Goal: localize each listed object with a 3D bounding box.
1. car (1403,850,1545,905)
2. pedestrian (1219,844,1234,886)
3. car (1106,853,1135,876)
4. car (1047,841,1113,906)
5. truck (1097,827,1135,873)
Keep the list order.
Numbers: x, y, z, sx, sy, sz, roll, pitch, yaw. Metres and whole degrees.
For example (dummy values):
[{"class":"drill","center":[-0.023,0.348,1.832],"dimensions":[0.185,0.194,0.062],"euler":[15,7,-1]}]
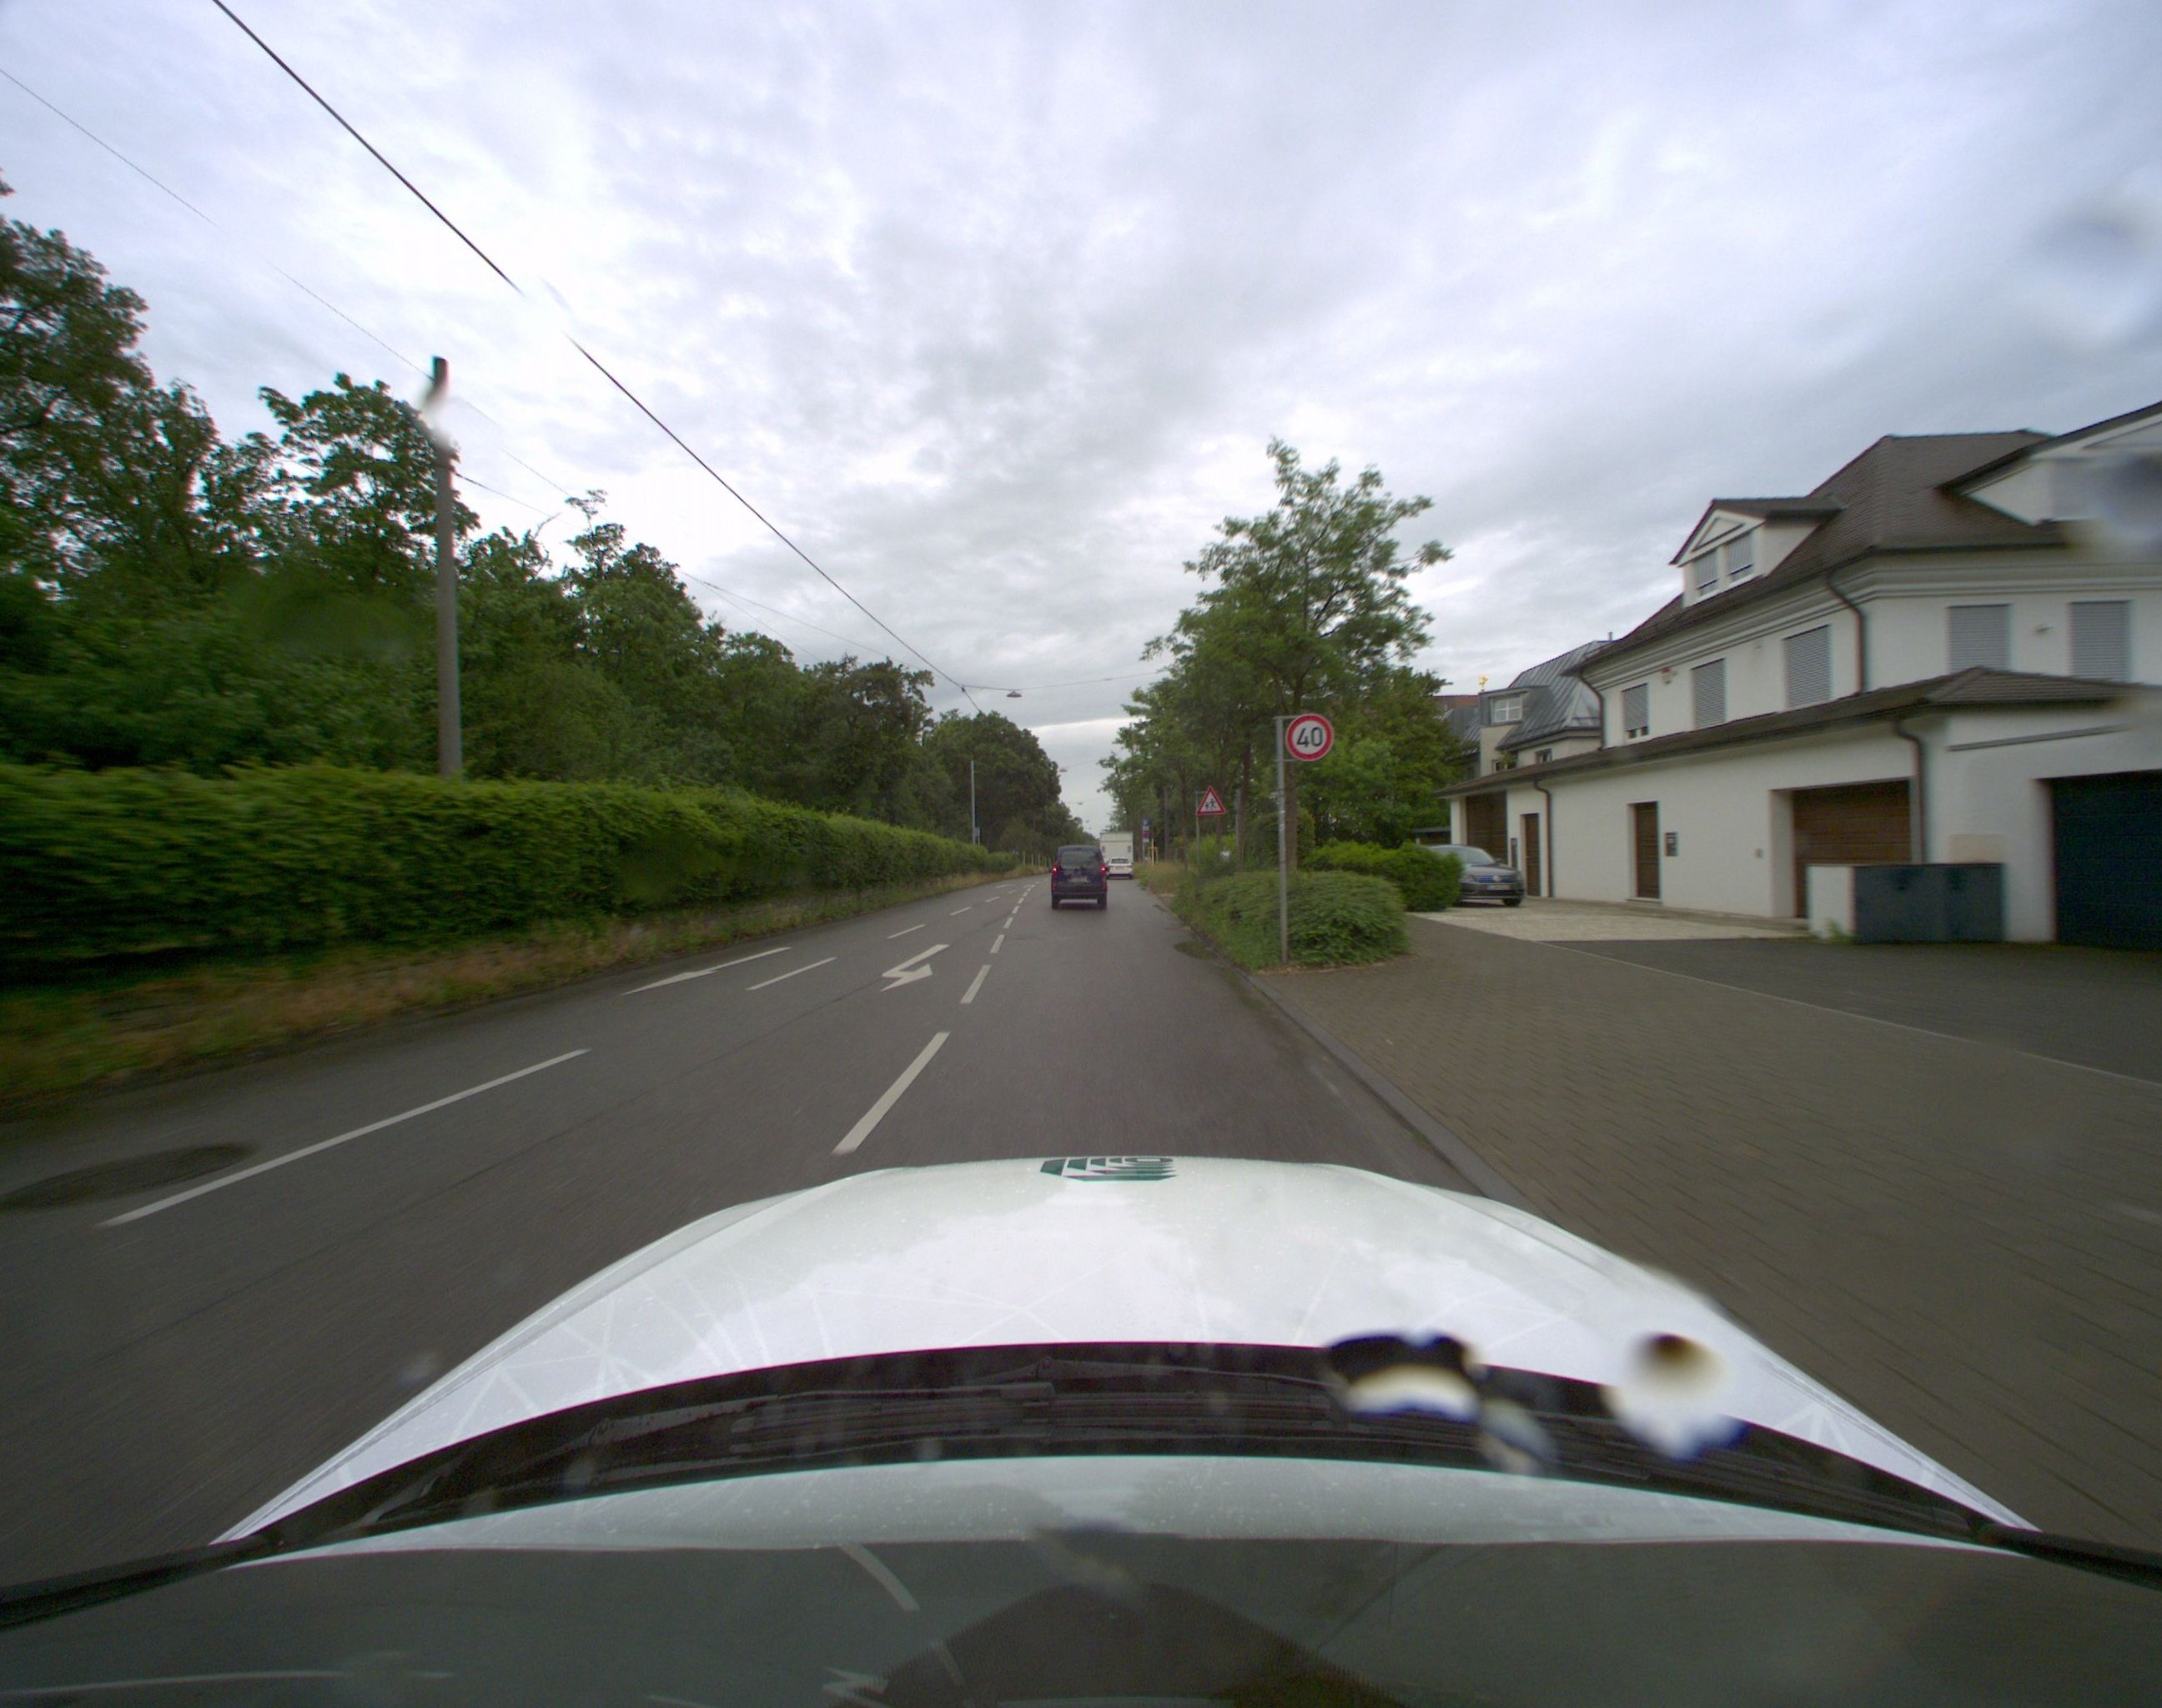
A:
[{"class":"car","center":[9.269,0.514,19.586],"dimensions":[1.822,1.176,4.006],"euler":[0,0,5]},{"class":"pedestrian","center":[6.018,0.447,33.663],"dimensions":[0.558,1.708,0.517],"euler":[-1,0,10]},{"class":"car","center":[2.604,0.678,54.563],"dimensions":[1.806,1.380,4.285],"euler":[-2,0,1]},{"class":"car","center":[-0.040,0.562,24.942],"dimensions":[1.803,1.797,3.999],"euler":[-1,0,-1]},{"class":"truck","center":[2.711,-0.289,65.259],"dimensions":[2.722,3.387,6.685],"euler":[-2,0,0]}]
